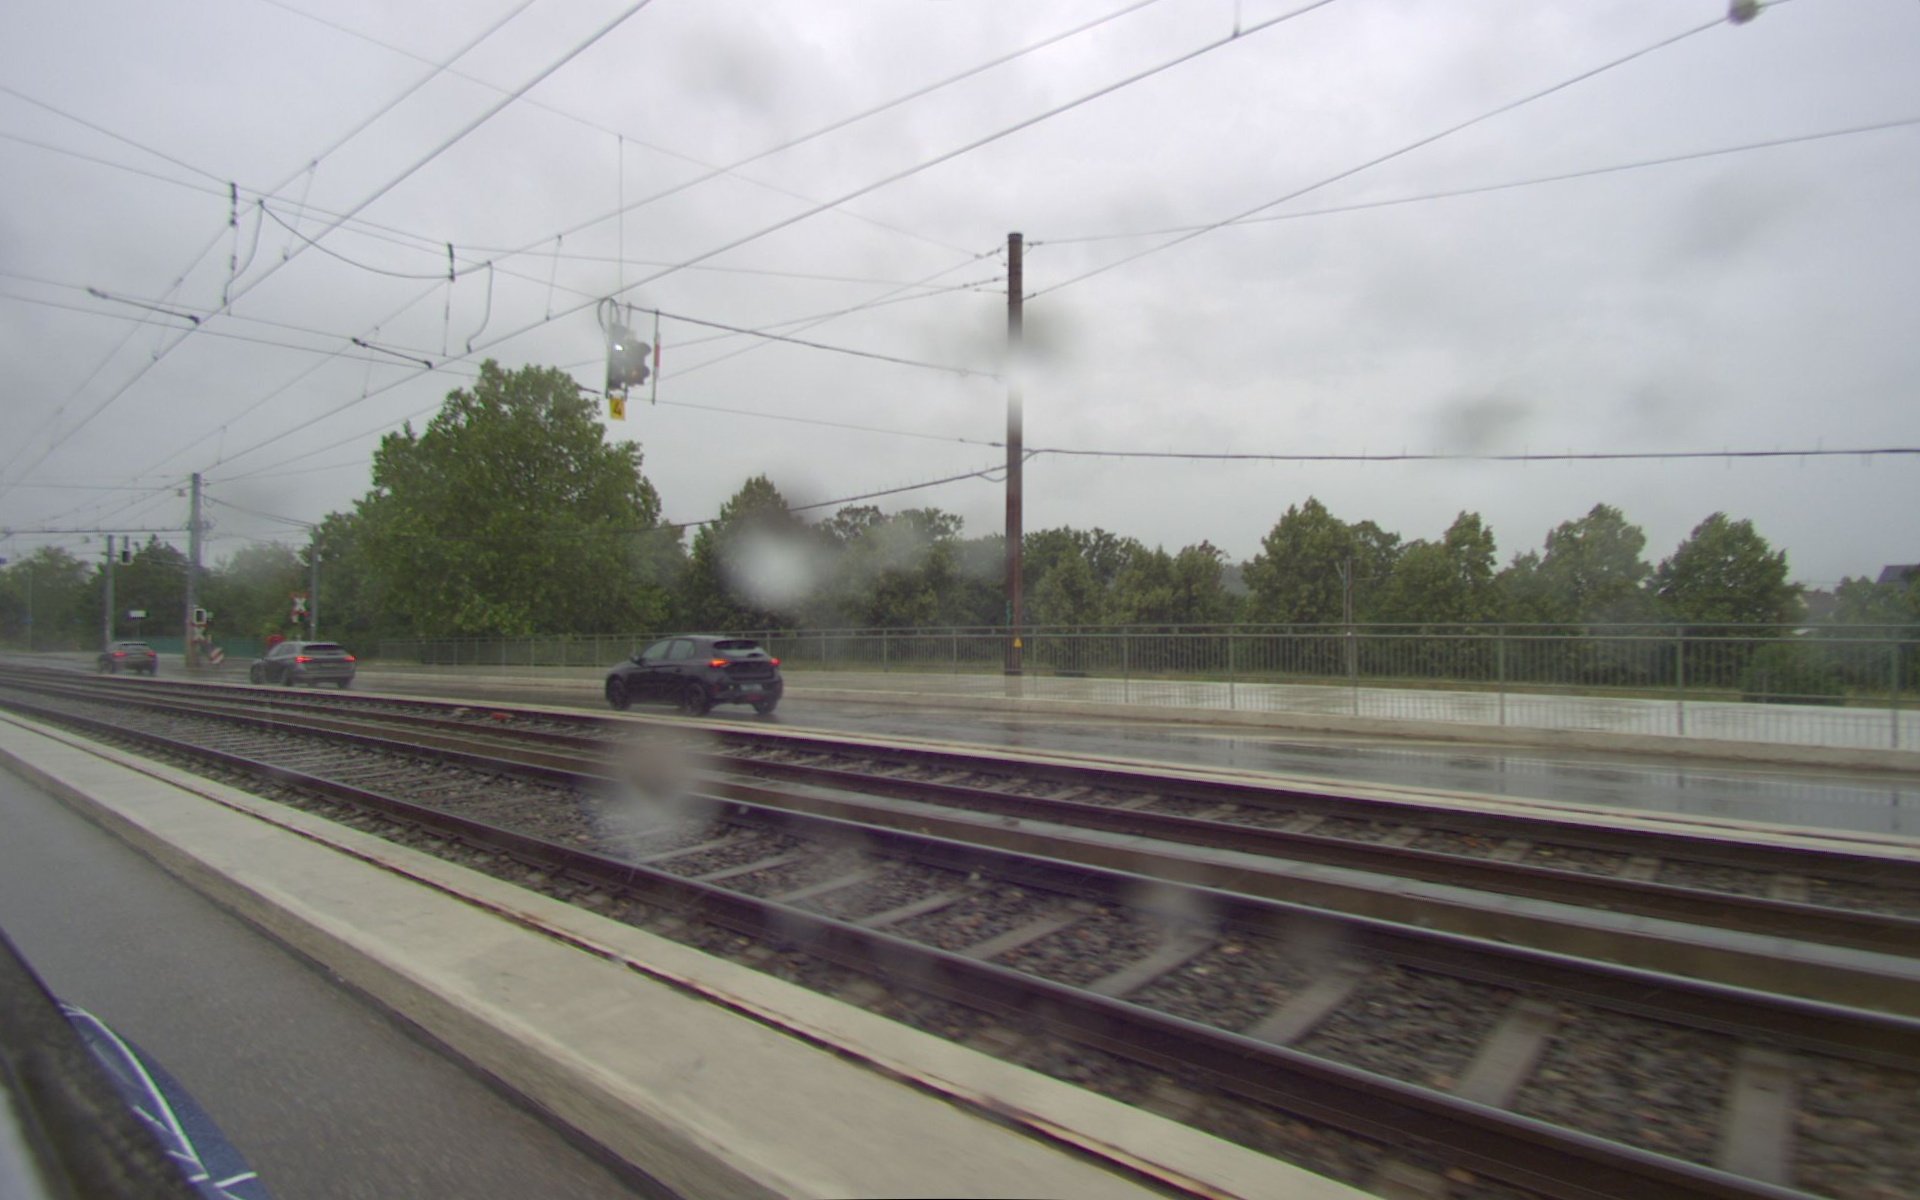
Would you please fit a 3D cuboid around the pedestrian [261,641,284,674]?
[{"bbox_3d":[-40.719,3.395,59.922,1.042,1.832,0.856,-1,0,39],"label":"pedestrian"}]

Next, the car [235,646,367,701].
[{"bbox_3d":[-21.093,2.290,32.301,5.107,1.521,1.974,-1,-3,39],"label":"car"}]

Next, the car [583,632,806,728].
[{"bbox_3d":[-4.987,1.407,18.780,4.089,1.521,1.973,-1,-3,40],"label":"car"}]

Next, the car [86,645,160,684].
[{"bbox_3d":[-41.677,3.179,50.365,4.938,1.730,1.973,-1,-3,41],"label":"car"}]
